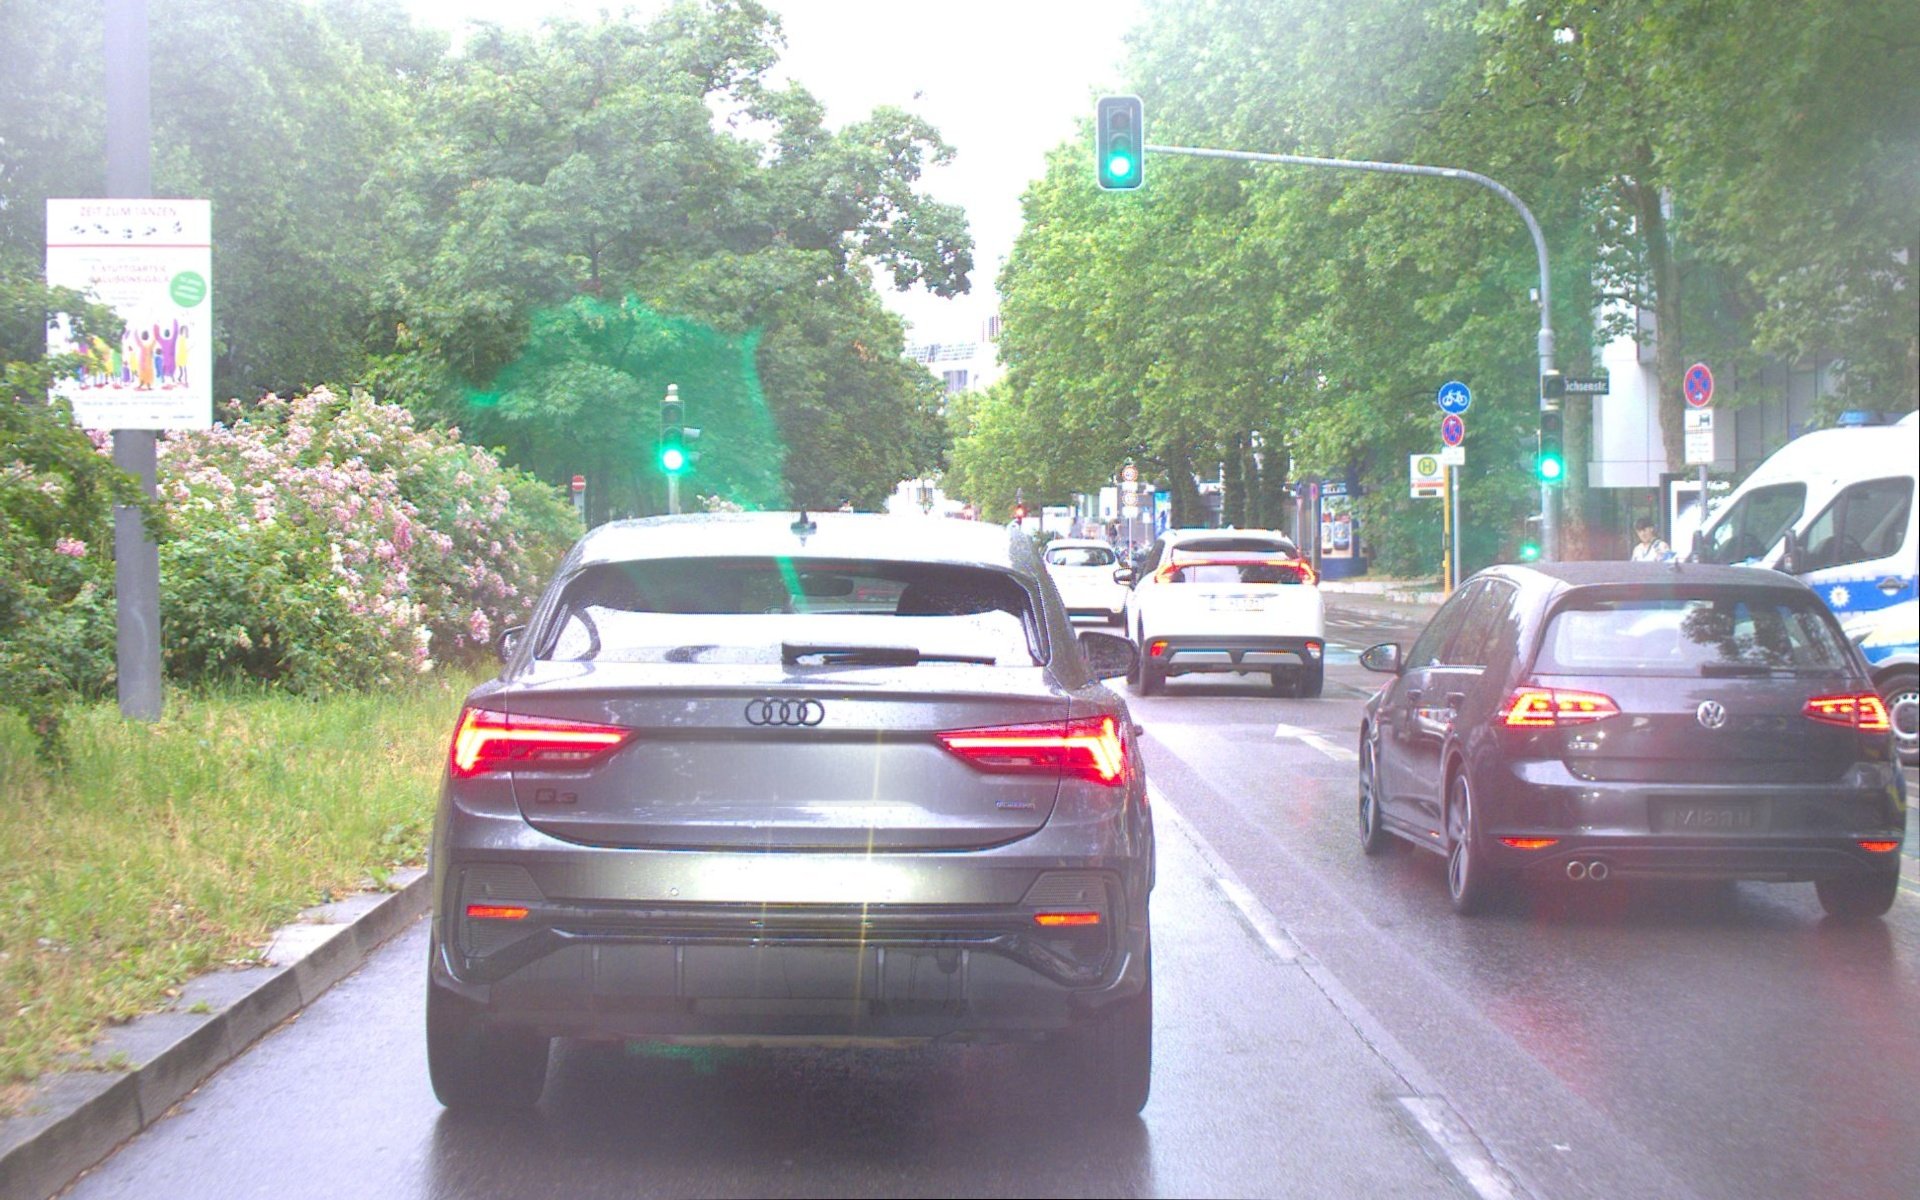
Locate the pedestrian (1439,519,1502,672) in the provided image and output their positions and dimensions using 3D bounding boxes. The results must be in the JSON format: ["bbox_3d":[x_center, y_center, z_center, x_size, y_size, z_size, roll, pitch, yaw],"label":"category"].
[{"bbox_3d":[6.142,-0.057,41.371,0.605,1.824,0.564,0,1,-10],"label":"pedestrian"}]

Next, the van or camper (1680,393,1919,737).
[{"bbox_3d":[8.775,-0.284,26.979,5.805,2.671,1.996,1,1,35],"label":"van or camper"}]

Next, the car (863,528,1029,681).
[{"bbox_3d":[-0.171,0.007,37.664,1.721,1.572,3.962,0,1,-1],"label":"car"}]

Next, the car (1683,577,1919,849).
[{"bbox_3d":[4.918,0.590,19.530,1.050,1.383,2.694,-1,1,0],"label":"car"}]

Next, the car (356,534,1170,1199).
[{"bbox_3d":[-0.421,0.583,10.140,1.863,1.527,4.527,0,1,1],"label":"car"}]

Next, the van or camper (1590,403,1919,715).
[{"bbox_3d":[8.703,-0.363,30.382,5.810,2.668,2.143,1,1,37],"label":"van or camper"}]

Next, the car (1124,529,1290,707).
[{"bbox_3d":[2.432,0.142,34.365,1.433,1.679,2.979,-1,1,0],"label":"car"}]

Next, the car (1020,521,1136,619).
[{"bbox_3d":[2.148,-0.580,63.488,1.993,1.744,4.000,0,1,0],"label":"car"}]

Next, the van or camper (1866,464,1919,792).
[{"bbox_3d":[8.276,0.229,20.400,5.203,1.985,1.996,2,1,34],"label":"van or camper"}]

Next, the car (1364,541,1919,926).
[{"bbox_3d":[2.910,0.471,14.979,1.765,1.408,4.000,-1,1,-1],"label":"car"}]

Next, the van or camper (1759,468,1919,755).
[{"bbox_3d":[8.363,0.090,24.067,5.011,2.007,1.996,0,0,35],"label":"van or camper"}]
